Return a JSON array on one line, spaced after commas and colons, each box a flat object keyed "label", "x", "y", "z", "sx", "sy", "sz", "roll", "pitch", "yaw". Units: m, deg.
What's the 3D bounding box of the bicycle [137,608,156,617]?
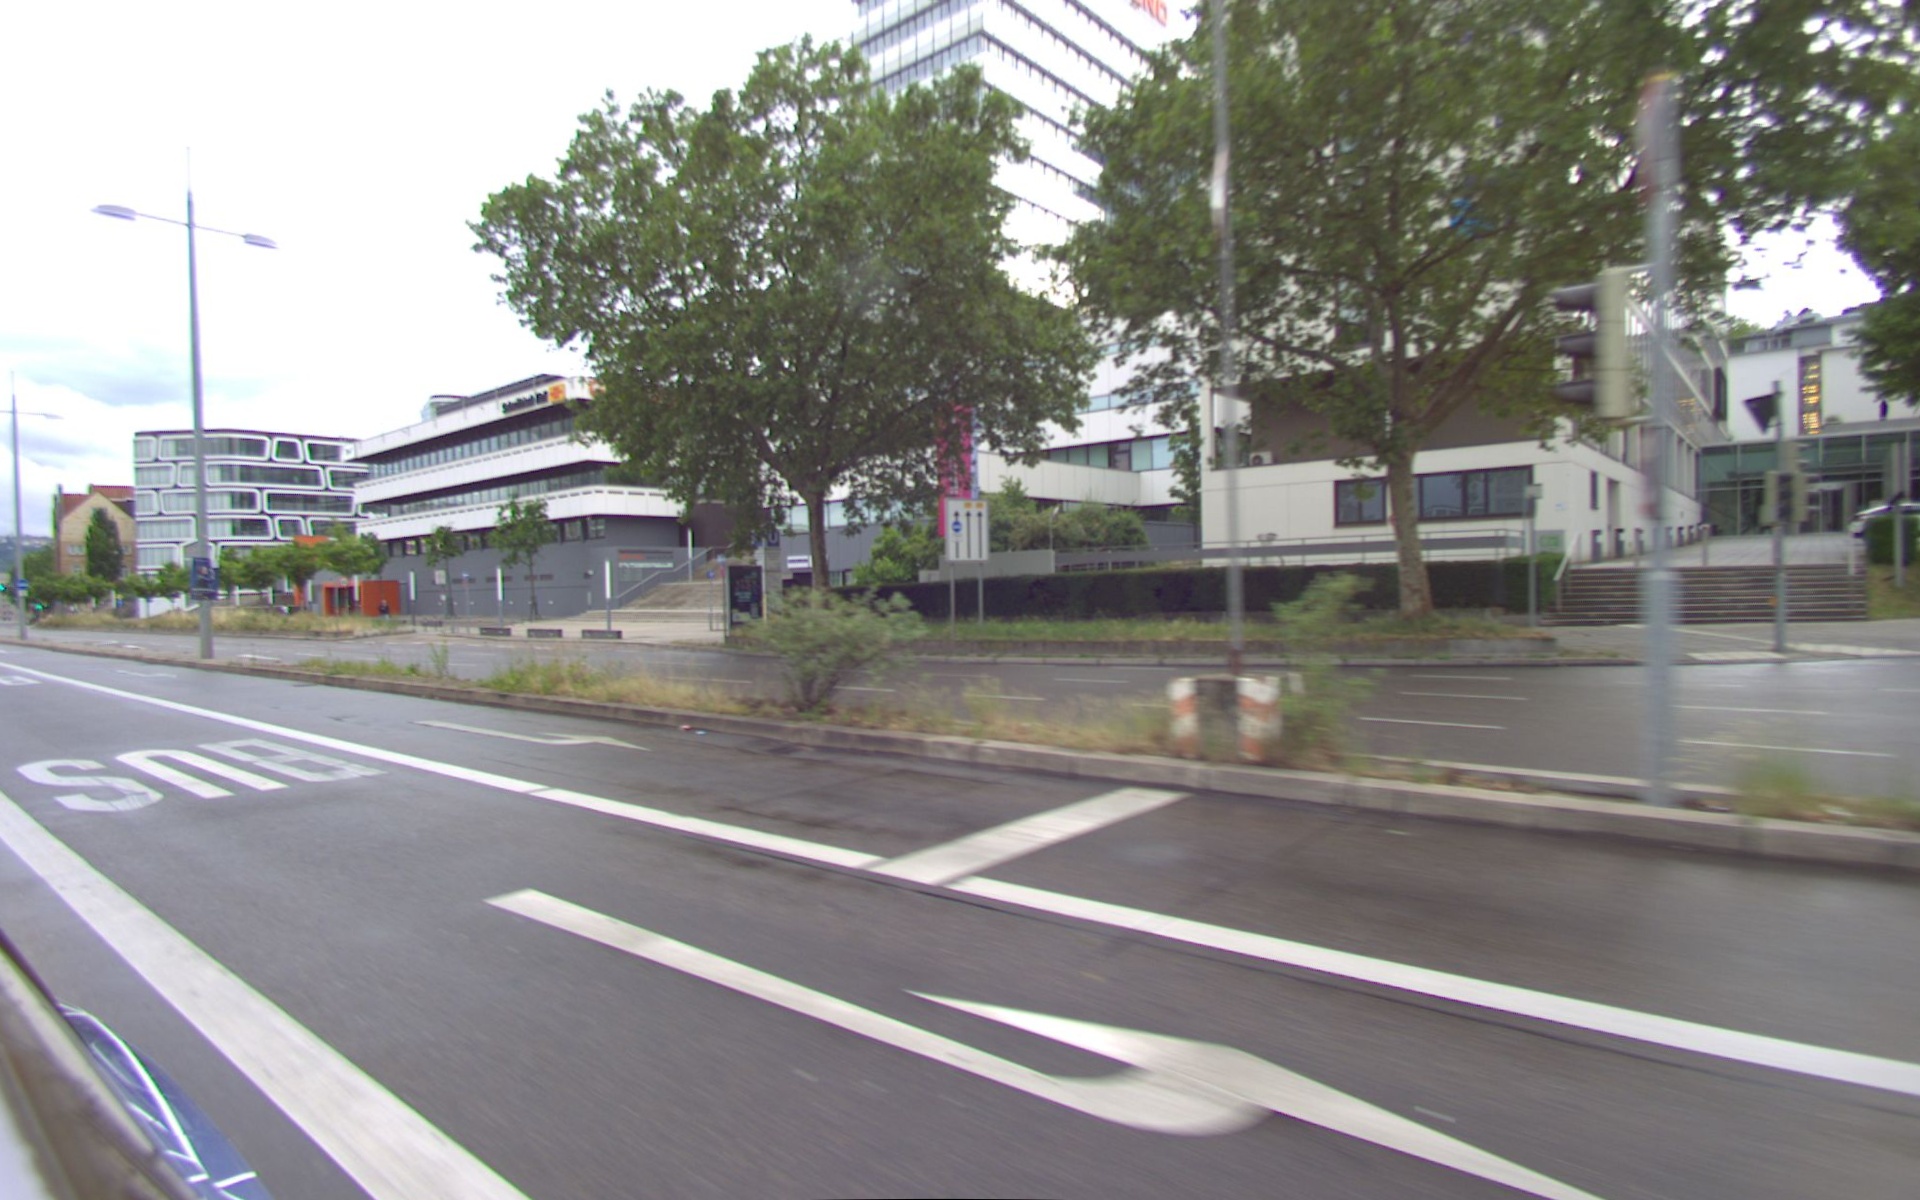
[{"label": "bicycle", "x": -84.915, "y": 1.316, "z": 105.588, "sx": 1.638, "sy": 0.864, "sz": 0.608, "roll": -1, "pitch": 0, "yaw": 9}]

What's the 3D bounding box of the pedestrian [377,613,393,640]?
[{"label": "pedestrian", "x": -38.827, "y": 1.787, "z": 68.382, "sx": 0.628, "sy": 1.821, "sz": 0.776, "roll": -1, "pitch": 0, "yaw": 42}]

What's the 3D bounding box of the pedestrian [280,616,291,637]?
[{"label": "pedestrian", "x": -58.051, "y": 2.270, "z": 87.103, "sx": 0.628, "sy": 1.821, "sz": 0.623, "roll": -1, "pitch": 0, "yaw": 42}]

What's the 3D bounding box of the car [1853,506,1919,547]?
[{"label": "car", "x": 37.151, "y": -2.872, "z": 39.146, "sx": 3.880, "sy": 1.420, "sz": 1.510, "roll": -1, "pitch": 0, "yaw": 41}]
